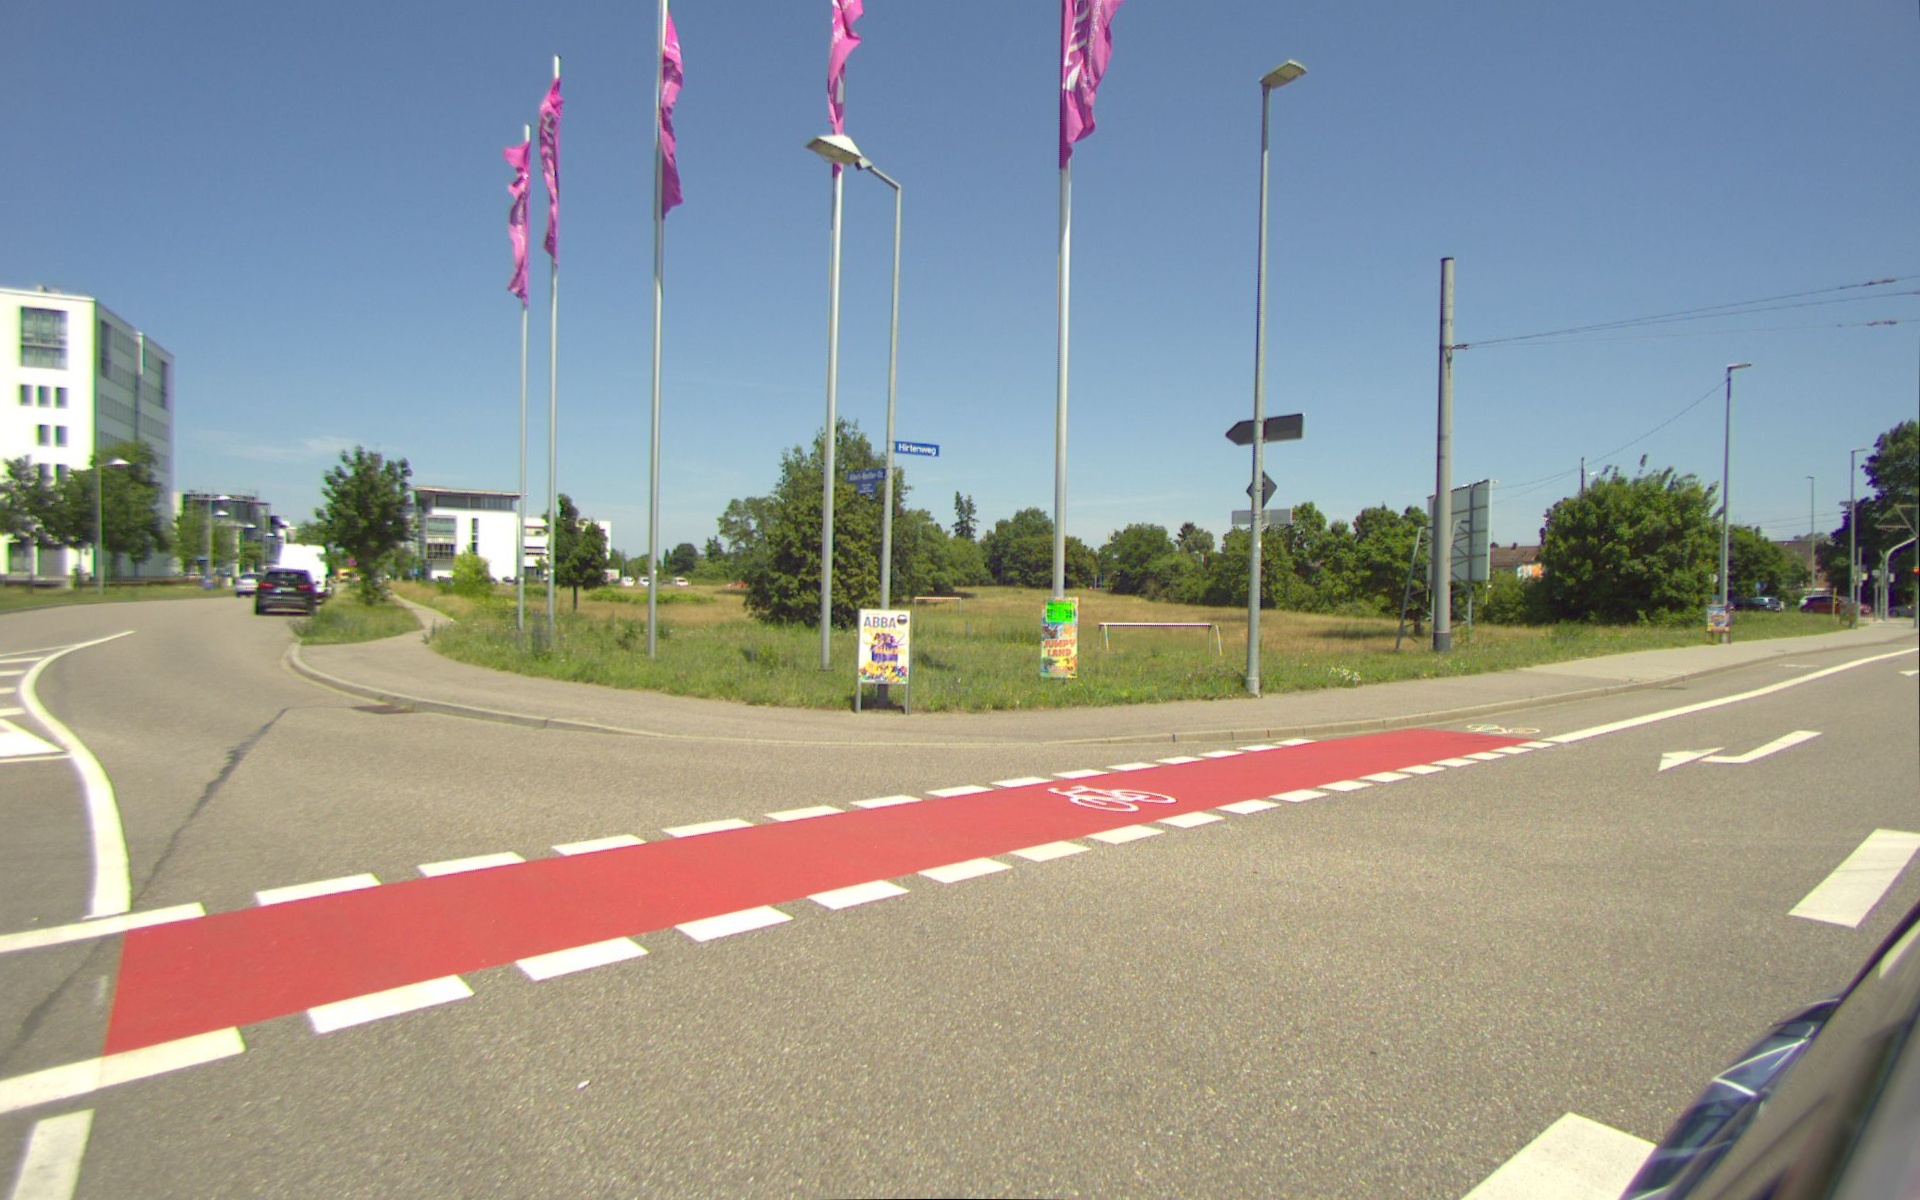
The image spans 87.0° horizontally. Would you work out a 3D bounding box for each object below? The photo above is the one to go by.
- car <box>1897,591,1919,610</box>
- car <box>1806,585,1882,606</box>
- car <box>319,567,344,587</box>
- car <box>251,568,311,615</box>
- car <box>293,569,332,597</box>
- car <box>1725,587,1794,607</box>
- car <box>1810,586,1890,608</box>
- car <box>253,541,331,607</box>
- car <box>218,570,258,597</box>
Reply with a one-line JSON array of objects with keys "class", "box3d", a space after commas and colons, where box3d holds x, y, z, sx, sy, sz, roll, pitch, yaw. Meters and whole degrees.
[{"class": "car", "box3d": [75.037, 0.045, 77.722, 1.811, 1.443, 4.222, 1, 1, -10]}, {"class": "car", "box3d": [71.227, -0.375, 81.615, 1.836, 1.596, 4.420, 1, 1, -10]}, {"class": "car", "box3d": [-53.198, -1.940, 85.701, 1.671, 1.552, 3.631, 0, -1, -29]}, {"class": "car", "box3d": [-23.907, -0.264, 35.626, 1.673, 1.552, 3.627, 0, -1, -35]}, {"class": "car", "box3d": [-37.684, -0.972, 58.922, 1.671, 1.552, 3.631, 0, -1, -29]}, {"class": "car", "box3d": [66.985, -0.272, 84.865, 1.836, 1.596, 4.420, 1, 1, -10]}, {"class": "car", "box3d": [68.522, -0.236, 77.971, 1.836, 1.596, 4.420, 1, 1, -10]}, {"class": "car", "box3d": [-30.867, -1.175, 46.983, 2.615, 2.837, 6.860, -1, 1, -30]}, {"class": "car", "box3d": [-44.166, -0.999, 61.967, 1.672, 1.552, 3.630, 0, -1, -30]}]
